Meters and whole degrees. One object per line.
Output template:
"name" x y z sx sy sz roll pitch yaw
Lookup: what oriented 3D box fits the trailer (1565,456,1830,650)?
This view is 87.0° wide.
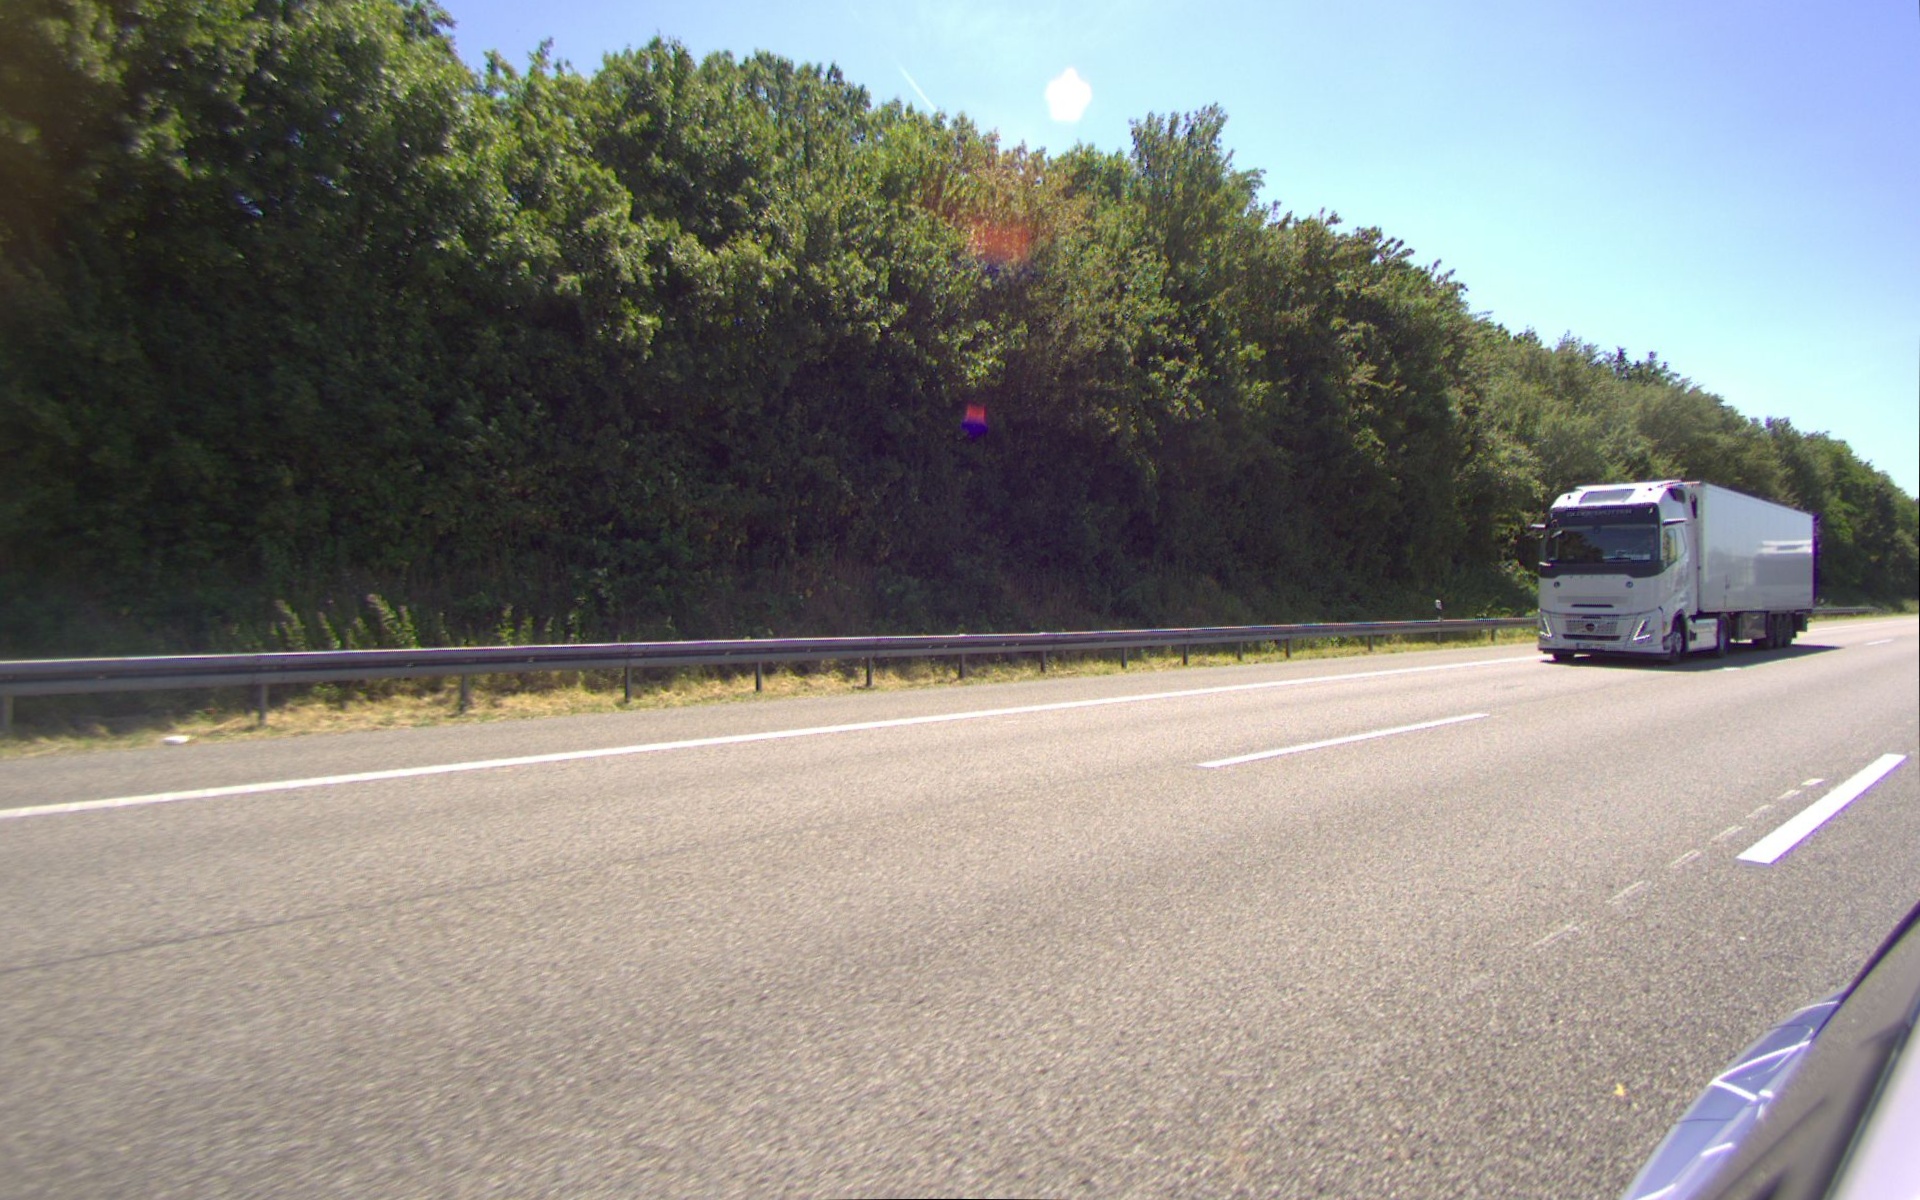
"trailer" 20.817 -1.086 27.965 13.595 4.278 3.045 0 1 -41

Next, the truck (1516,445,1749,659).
"truck" 15.602 -0.984 23.335 5.943 4.268 3.052 0 0 -41
